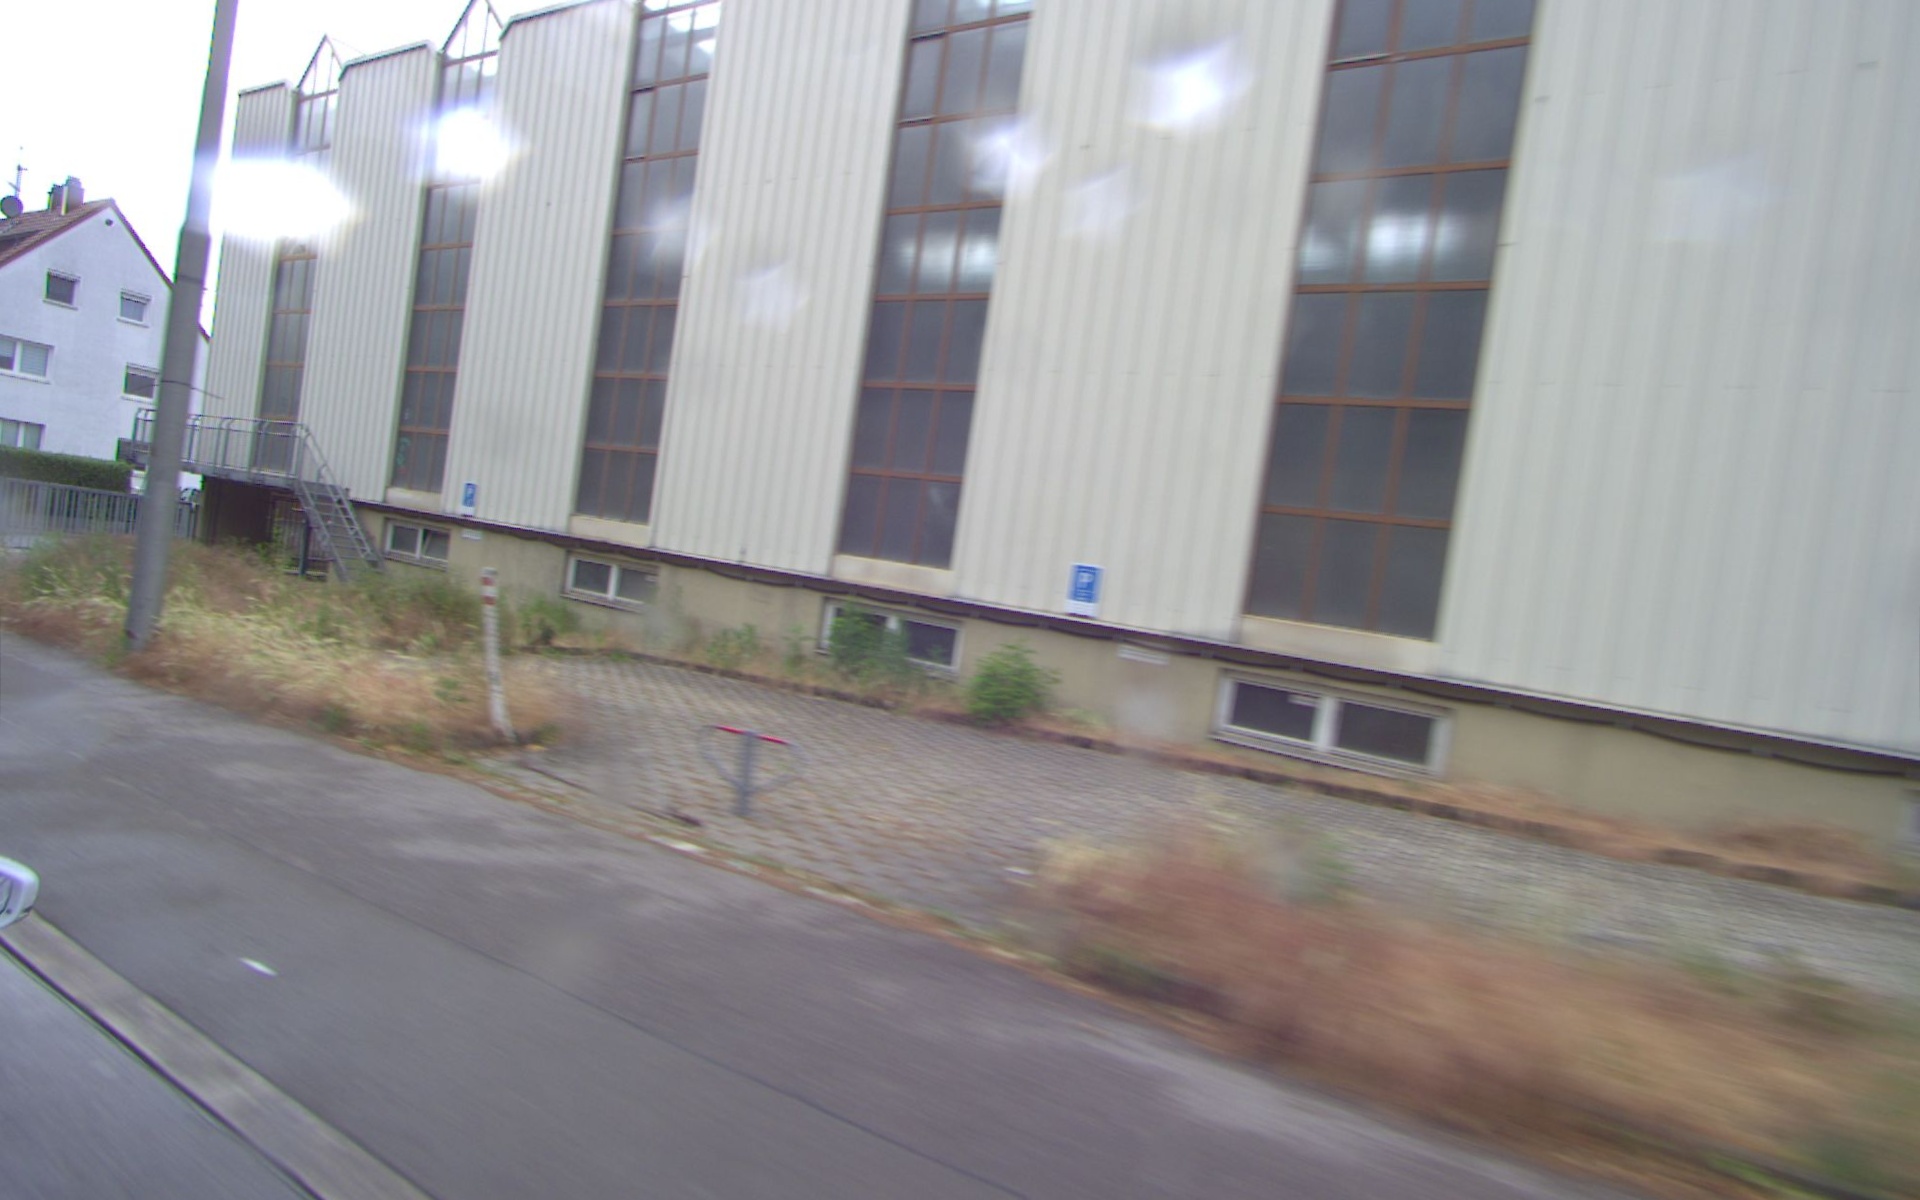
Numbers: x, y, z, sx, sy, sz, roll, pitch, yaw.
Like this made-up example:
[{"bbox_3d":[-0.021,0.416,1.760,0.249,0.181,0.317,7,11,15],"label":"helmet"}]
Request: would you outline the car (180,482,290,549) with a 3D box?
[{"bbox_3d":[-27.445,-3.215,38.042,3.933,2.038,1.841,7,0,31],"label":"car"}]
